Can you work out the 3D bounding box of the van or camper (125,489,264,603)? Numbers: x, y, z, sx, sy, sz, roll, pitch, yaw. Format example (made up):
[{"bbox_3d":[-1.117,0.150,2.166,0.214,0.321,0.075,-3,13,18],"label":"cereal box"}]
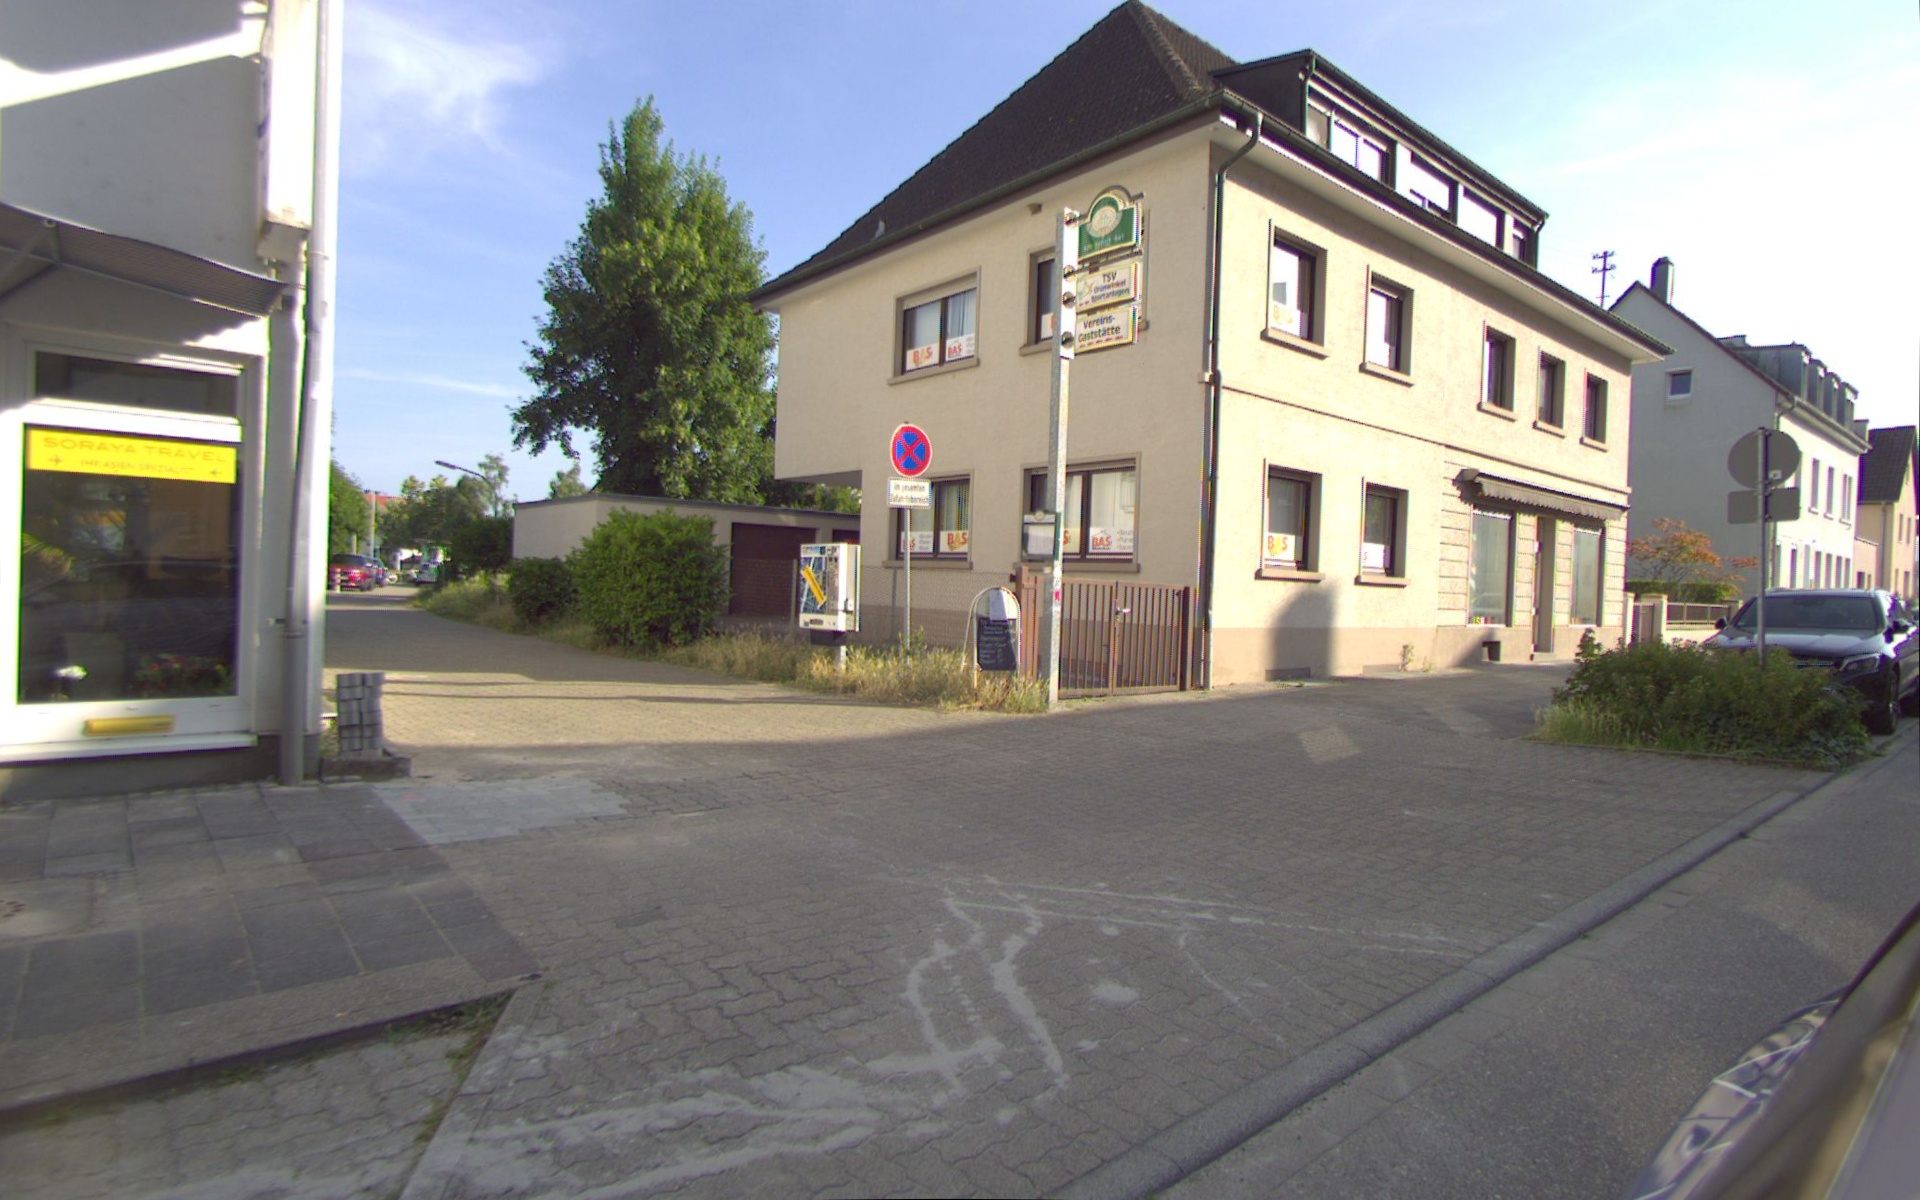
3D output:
[{"bbox_3d":[-19.341,-1.334,25.500,4.171,2.560,1.969,3,0,42],"label":"van or camper"}]

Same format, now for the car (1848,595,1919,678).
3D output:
[{"bbox_3d":[18.845,0.683,19.589,4.528,1.437,1.834,1,2,-41],"label":"car"}]

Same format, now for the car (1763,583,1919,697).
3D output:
[{"bbox_3d":[14.866,0.573,16.680,4.243,1.579,1.833,0,2,-42],"label":"car"}]

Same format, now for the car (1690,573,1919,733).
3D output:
[{"bbox_3d":[10.998,0.548,12.809,4.384,1.650,1.834,0,2,-41],"label":"car"}]

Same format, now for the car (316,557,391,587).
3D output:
[{"bbox_3d":[-26.828,-1.241,44.906,1.576,1.242,3.744,2,2,-9],"label":"car"}]

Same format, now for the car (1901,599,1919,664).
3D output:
[{"bbox_3d":[23.412,0.740,23.572,4.418,1.438,1.782,1,1,-42],"label":"car"}]
